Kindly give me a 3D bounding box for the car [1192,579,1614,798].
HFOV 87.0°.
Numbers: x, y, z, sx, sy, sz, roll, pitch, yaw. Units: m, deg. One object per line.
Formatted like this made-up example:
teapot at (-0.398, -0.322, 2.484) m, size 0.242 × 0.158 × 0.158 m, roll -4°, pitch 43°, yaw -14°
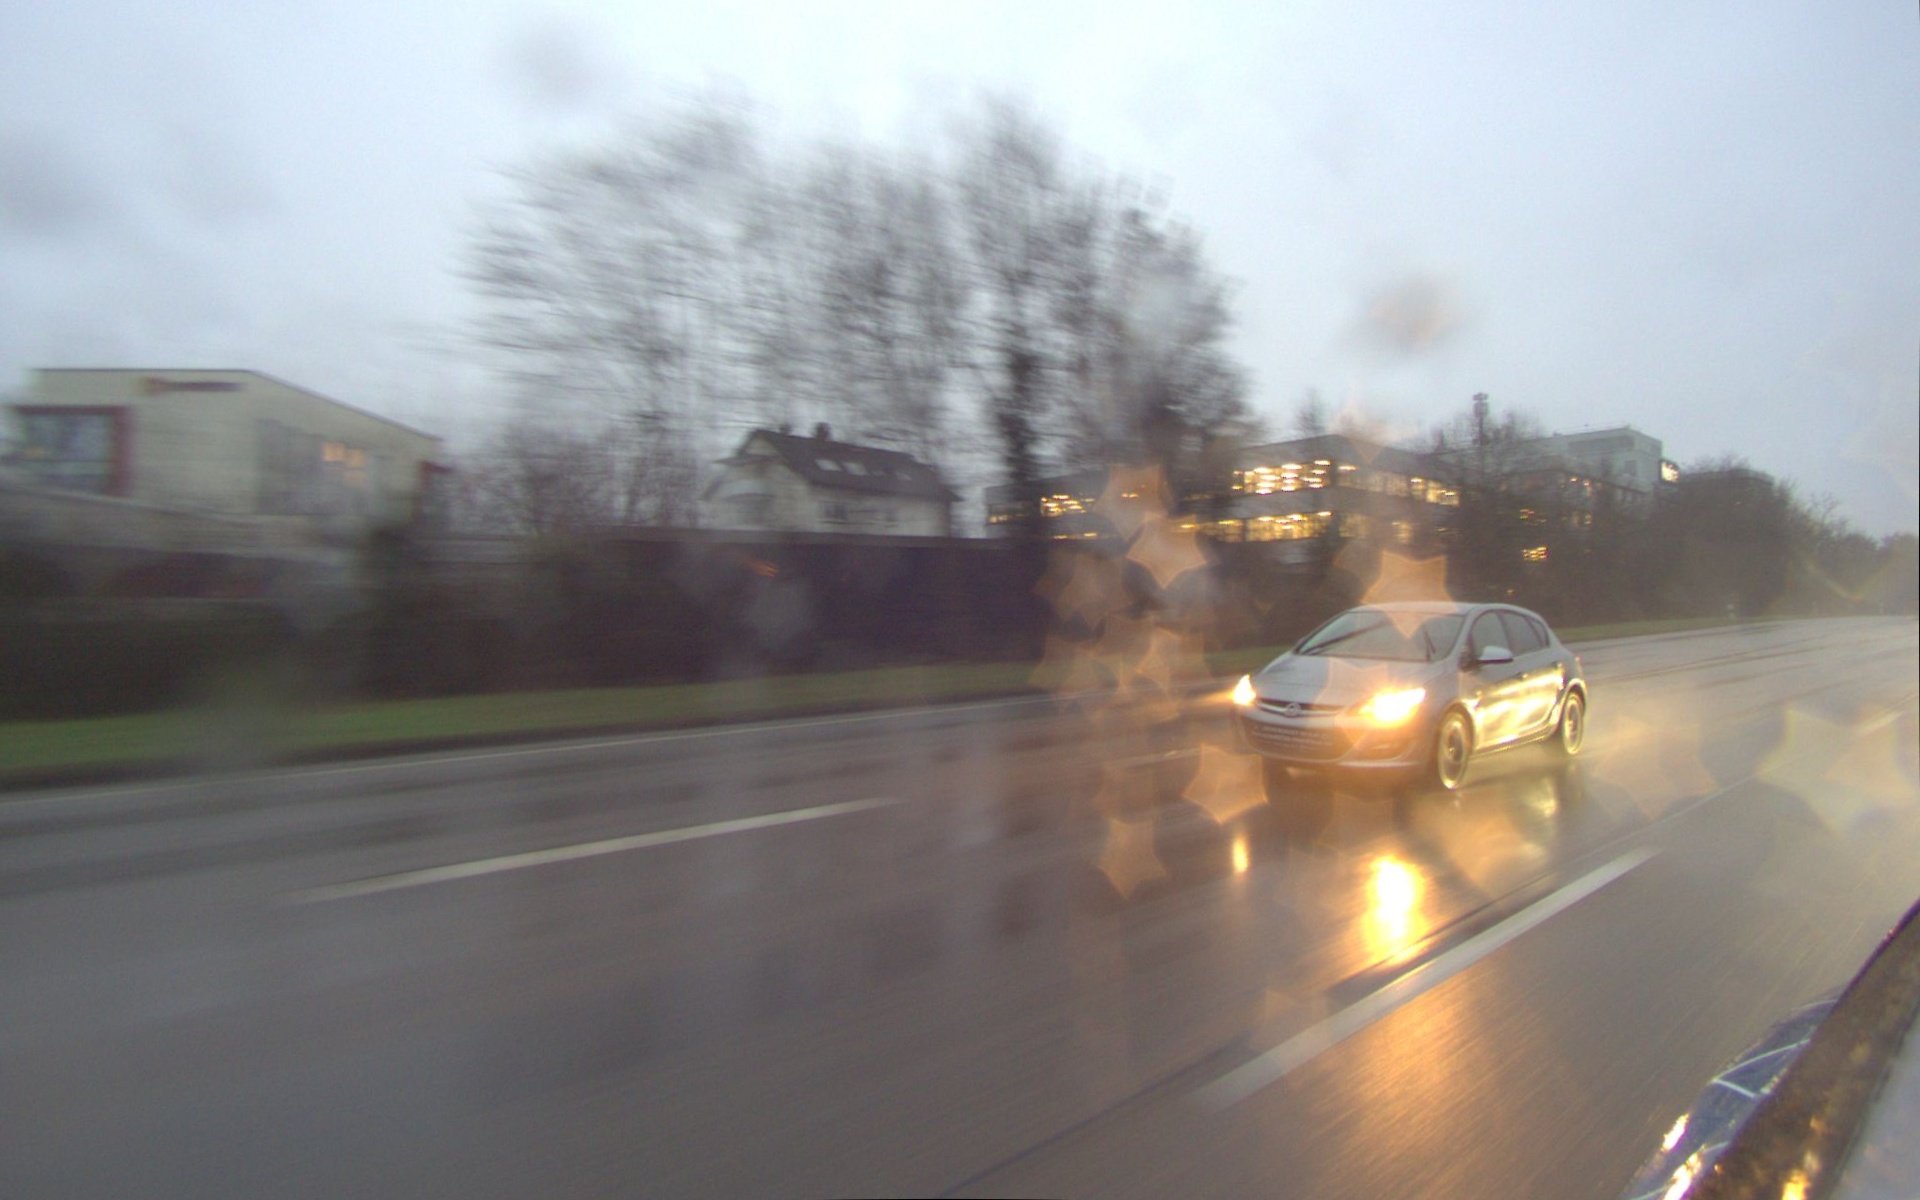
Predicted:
car at (4.141, 0.595, 9.149) m, size 4.188 × 1.520 × 1.853 m, roll -1°, pitch 0°, yaw -41°
